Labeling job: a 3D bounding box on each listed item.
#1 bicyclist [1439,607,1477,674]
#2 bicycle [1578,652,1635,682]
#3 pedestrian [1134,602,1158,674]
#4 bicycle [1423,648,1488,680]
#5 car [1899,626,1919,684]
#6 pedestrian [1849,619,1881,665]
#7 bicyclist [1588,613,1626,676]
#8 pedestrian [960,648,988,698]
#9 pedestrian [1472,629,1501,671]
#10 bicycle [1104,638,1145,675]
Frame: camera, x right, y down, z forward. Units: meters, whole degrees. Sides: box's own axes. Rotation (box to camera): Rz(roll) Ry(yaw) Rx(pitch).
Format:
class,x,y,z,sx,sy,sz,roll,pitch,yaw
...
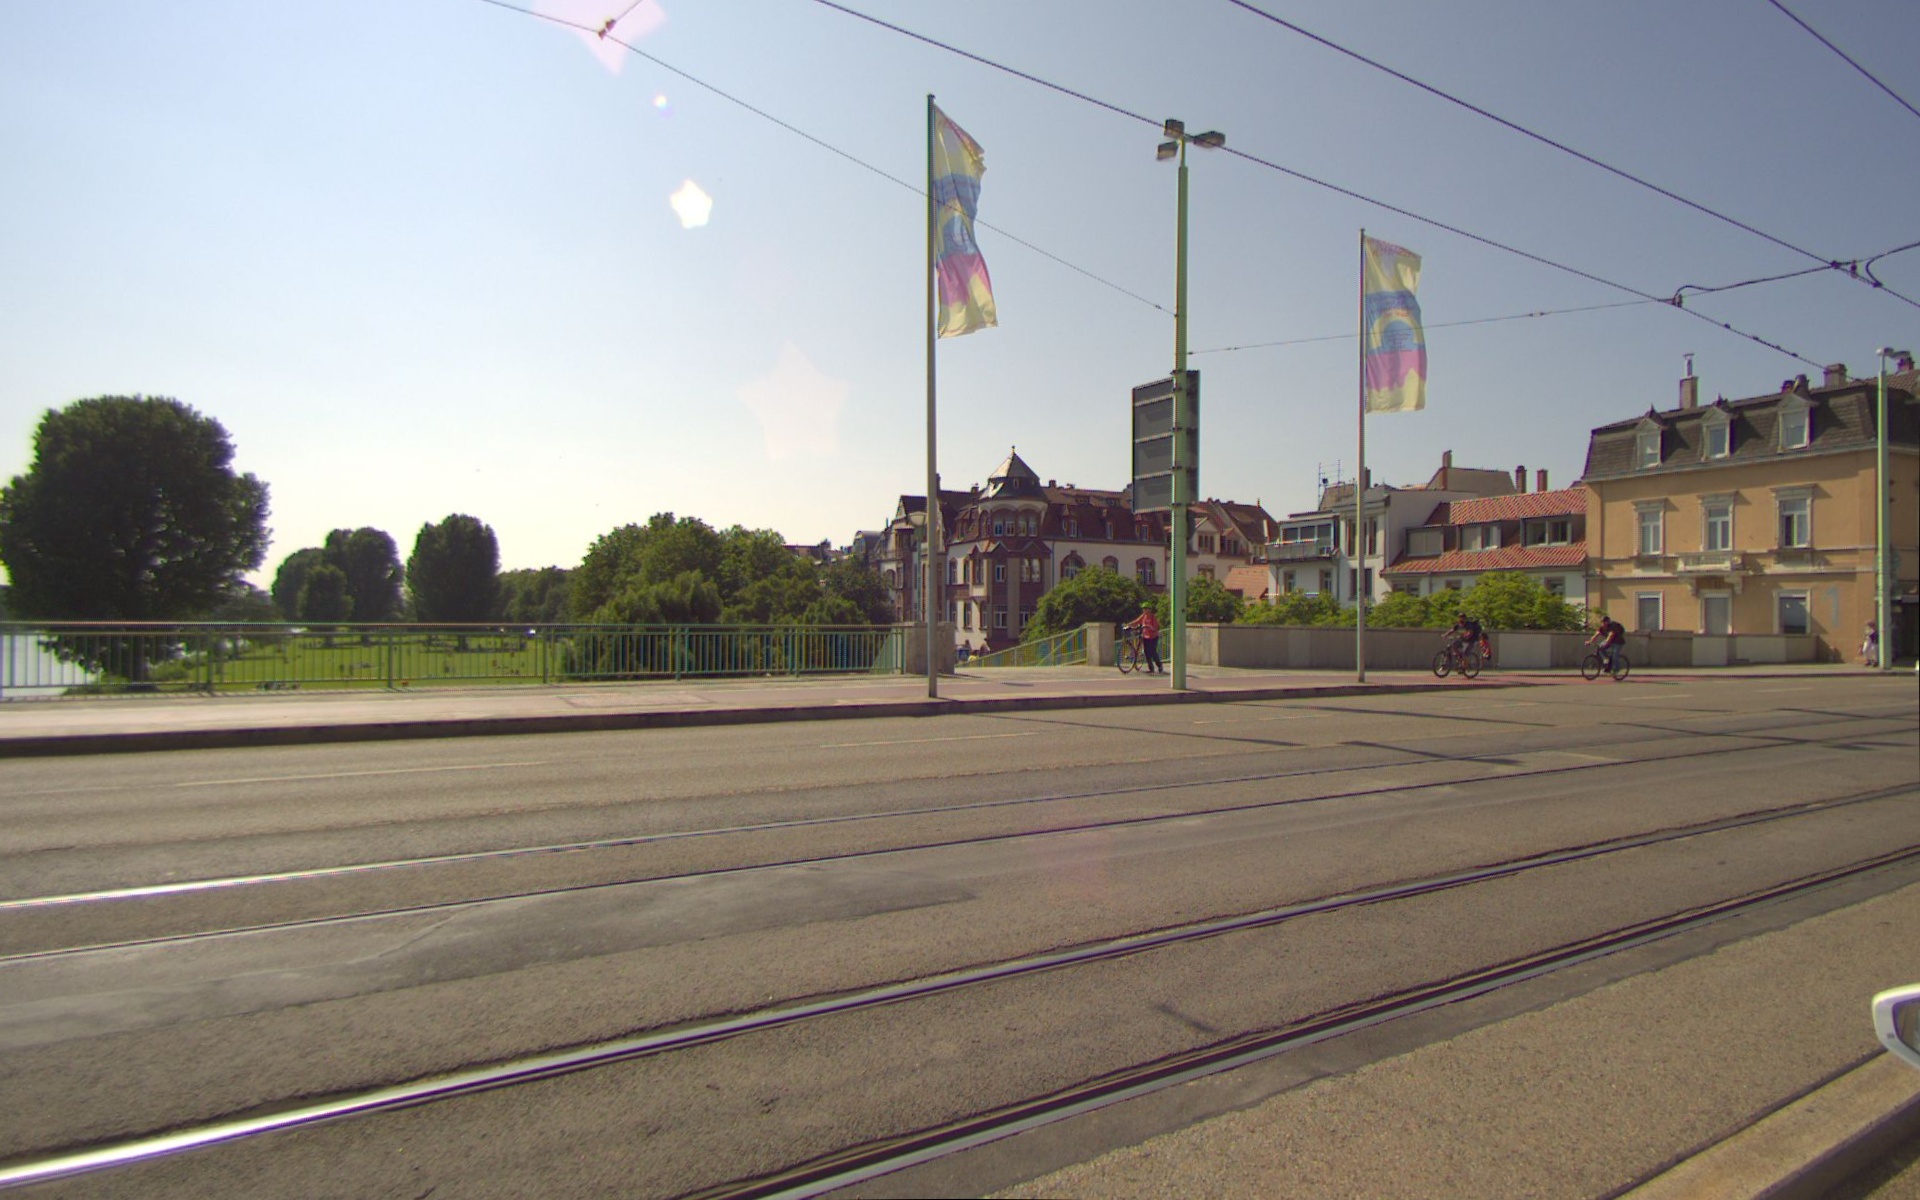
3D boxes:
class,x,y,z,sx,sy,sz,roll,pitch,yaw
bicyclist,12.816,1.033,25.854,0.614,1.672,0.624,0,2,-29
bicycle,17.903,1.838,27.796,1.711,0.726,0.617,0,1,-30
pedestrian,4.370,0.882,23.535,0.405,1.654,0.627,2,1,20
bicycle,12.749,1.632,25.827,1.750,0.726,0.617,0,1,-30
car,26.524,1.438,26.027,4.314,1.480,1.726,1,-1,-25
pedestrian,33.134,1.536,36.780,0.559,1.624,0.646,-1,5,-29
bicyclist,17.891,1.216,27.776,0.614,1.672,0.624,0,2,-29
pedestrian,0.513,2.705,37.290,0.790,1.804,0.743,1,-1,-24
pedestrian,15.207,1.445,29.040,0.536,1.161,0.411,2,3,-19
bicycle,3.927,1.322,23.864,0.610,0.726,1.933,1,1,19
